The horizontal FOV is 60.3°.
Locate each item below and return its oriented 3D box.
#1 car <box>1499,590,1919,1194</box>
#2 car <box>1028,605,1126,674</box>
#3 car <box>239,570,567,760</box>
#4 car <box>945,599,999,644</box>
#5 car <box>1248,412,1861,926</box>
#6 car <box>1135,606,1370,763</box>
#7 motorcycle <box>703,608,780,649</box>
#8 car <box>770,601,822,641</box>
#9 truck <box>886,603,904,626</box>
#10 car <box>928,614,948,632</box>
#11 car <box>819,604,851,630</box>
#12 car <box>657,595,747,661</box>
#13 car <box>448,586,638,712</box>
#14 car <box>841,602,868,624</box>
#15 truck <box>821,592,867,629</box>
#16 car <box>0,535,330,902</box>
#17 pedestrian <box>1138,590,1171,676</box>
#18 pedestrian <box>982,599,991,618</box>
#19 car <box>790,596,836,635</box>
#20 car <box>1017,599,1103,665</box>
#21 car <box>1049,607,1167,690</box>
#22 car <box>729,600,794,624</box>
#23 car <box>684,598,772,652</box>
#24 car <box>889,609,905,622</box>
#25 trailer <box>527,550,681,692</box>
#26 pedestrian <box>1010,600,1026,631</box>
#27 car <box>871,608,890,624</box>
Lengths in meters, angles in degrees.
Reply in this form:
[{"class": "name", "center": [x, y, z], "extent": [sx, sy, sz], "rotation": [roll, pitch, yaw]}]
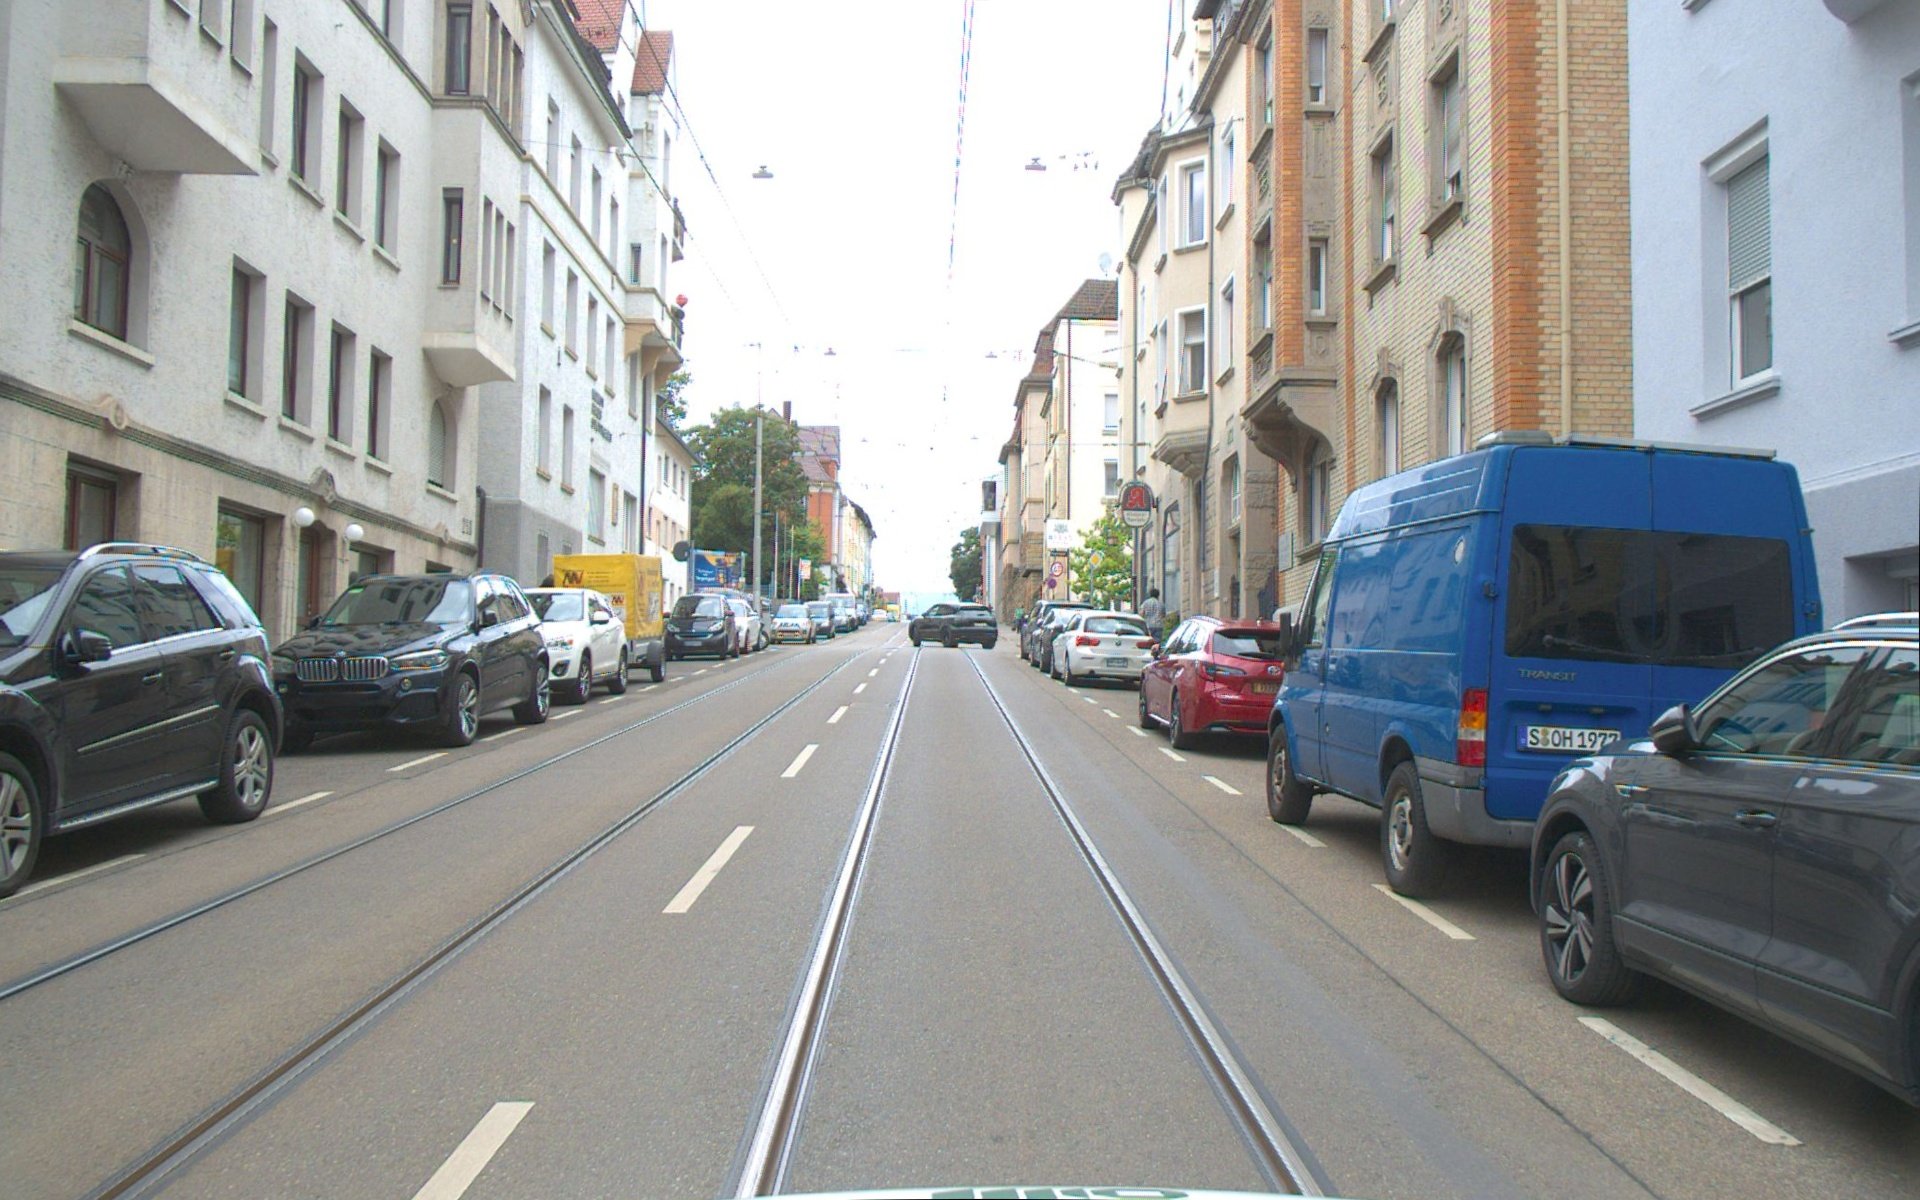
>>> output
[{"class": "car", "center": [3.361, 0.818, 5.236], "extent": [1.744, 1.557, 4.191], "rotation": [4, 0, -2]}, {"class": "car", "center": [2.667, 0.881, 38.820], "extent": [1.744, 1.415, 4.690], "rotation": [3, 0, -2]}, {"class": "car", "center": [-5.685, 0.582, 17.613], "extent": [1.835, 1.693, 4.891], "rotation": [-1, 0, 0]}, {"class": "car", "center": [0.428, 0.785, 62.162], "extent": [1.953, 1.590, 4.289], "rotation": [1, 0, 0]}, {"class": "car", "center": [3.294, 0.356, 10.446], "extent": [1.953, 2.418, 5.055], "rotation": [1, -1, -1]}, {"class": "car", "center": [3.211, 0.870, 19.062], "extent": [1.744, 1.501, 4.588], "rotation": [3, 0, -1]}, {"class": "motorcycle", "center": [-6.332, 0.829, 47.964], "extent": [2.063, 1.154, 0.767], "rotation": [-1, 0, 13]}, {"class": "car", "center": [-6.647, 0.840, 67.470], "extent": [1.662, 1.583, 3.850], "rotation": [1, 0, 1]}, {"class": "truck", "center": [-8.885, 2.020, 225.881], "extent": [2.256, 3.090, 9.031], "rotation": [1, -1, -1]}, {"class": "car", "center": [-1.961, 2.014, 146.273], "extent": [1.638, 1.539, 3.796], "rotation": [1, 0, -2]}, {"class": "car", "center": [-7.295, 0.954, 96.904], "extent": [1.663, 1.458, 4.479], "rotation": [-1, 0, -2]}, {"class": "car", "center": [-6.153, 0.652, 39.692], "extent": [1.662, 1.494, 3.023], "rotation": [-1, 0, 0]}, {"class": "car", "center": [-5.908, 0.630, 23.950], "extent": [1.662, 1.621, 4.268], "rotation": [-1, 0, 0]}, {"class": "car", "center": [-7.569, 0.919, 118.791], "extent": [1.677, 1.472, 4.289], "rotation": [1, 0, 0]}, {"class": "truck", "center": [-7.236, 0.656, 103.908], "extent": [2.233, 2.226, 8.024], "rotation": [1, 0, 0]}, {"class": "car", "center": [-5.497, 0.574, 9.600], "extent": [1.790, 1.748, 4.913], "rotation": [-1, 0, 0]}, {"class": "pedestrian", "center": [4.213, 0.719, 35.870], "extent": [0.587, 1.834, 0.631], "rotation": [1, -1, -1]}, {"class": "pedestrian", "center": [2.435, 0.791, 149.504], "extent": [0.775, 1.696, 0.799], "rotation": [1, 0, 1]}, {"class": "car", "center": [-6.967, 0.722, 78.680], "extent": [1.708, 1.766, 4.519], "rotation": [-1, 0, 1]}, {"class": "car", "center": [2.594, 0.803, 43.876], "extent": [1.700, 1.564, 4.571], "rotation": [3, 0, -3]}, {"class": "car", "center": [2.816, 0.895, 32.318], "extent": [1.715, 1.415, 4.306], "rotation": [3, 0, -2]}, {"class": "car", "center": [-12.094, 0.711, 101.033], "extent": [3.797, 1.381, 1.687], "rotation": [1, 0, -2]}, {"class": "car", "center": [-6.243, 0.652, 44.861], "extent": [1.743, 1.381, 4.291], "rotation": [1, 0, 0]}, {"class": "car", "center": [-7.780, 1.900, 204.578], "extent": [1.817, 1.635, 4.296], "rotation": [1, 0, -1]}, {"class": "trailer", "center": [-5.966, 0.313, 28.147], "extent": [1.713, 2.193, 4.071], "rotation": [-1, 0, 0]}, {"class": "pedestrian", "center": [3.243, 0.889, 92.762], "extent": [0.853, 1.716, 0.663], "rotation": [-1, 0, -3]}, {"class": "car", "center": [-8.202, 1.667, 171.887], "extent": [1.817, 1.635, 4.296], "rotation": [1, 0, -1]}]
